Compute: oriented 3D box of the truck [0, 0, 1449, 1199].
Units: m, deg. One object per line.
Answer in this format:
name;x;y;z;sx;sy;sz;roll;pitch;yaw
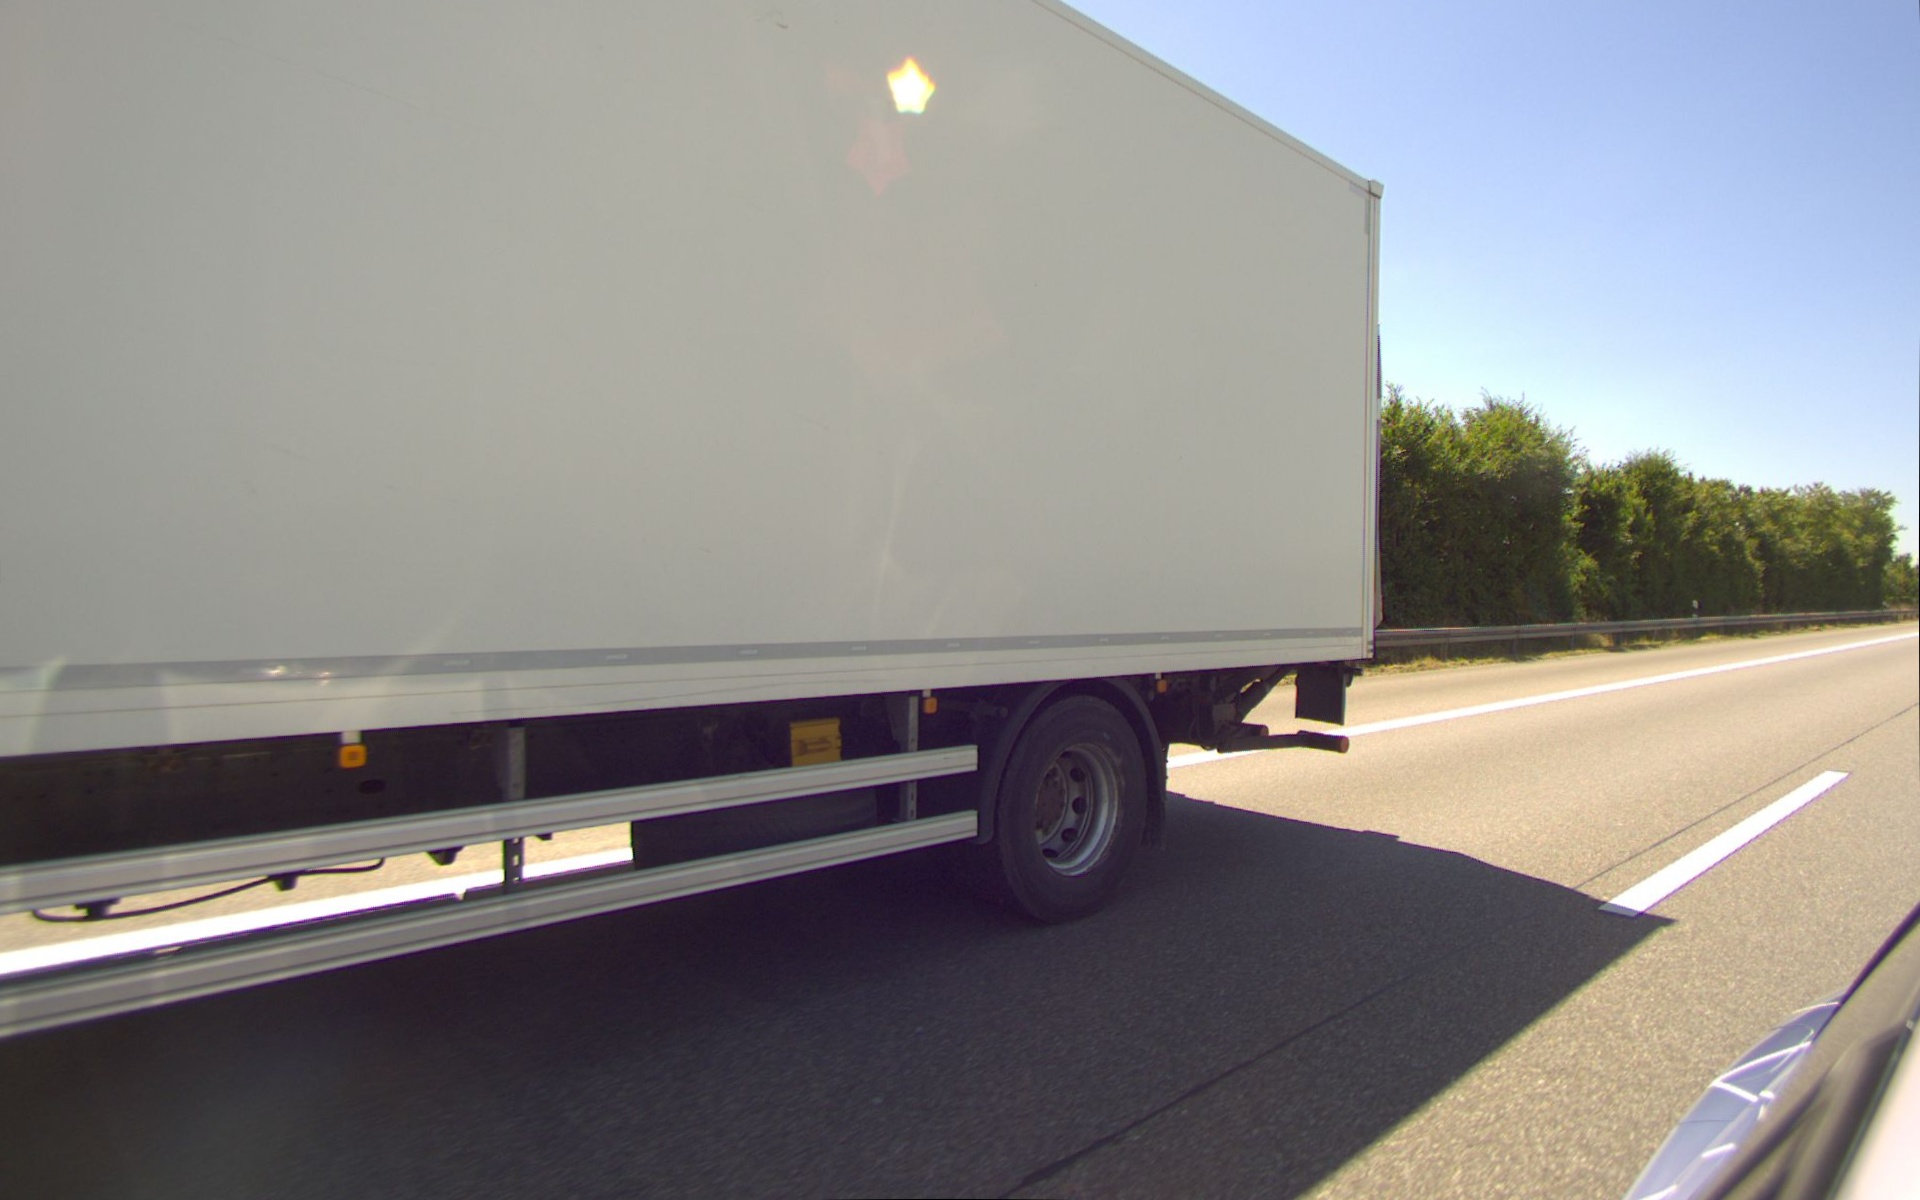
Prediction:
truck;-1.910;-0.781;3.890;10.495;4.253;2.938;0;0;-41
